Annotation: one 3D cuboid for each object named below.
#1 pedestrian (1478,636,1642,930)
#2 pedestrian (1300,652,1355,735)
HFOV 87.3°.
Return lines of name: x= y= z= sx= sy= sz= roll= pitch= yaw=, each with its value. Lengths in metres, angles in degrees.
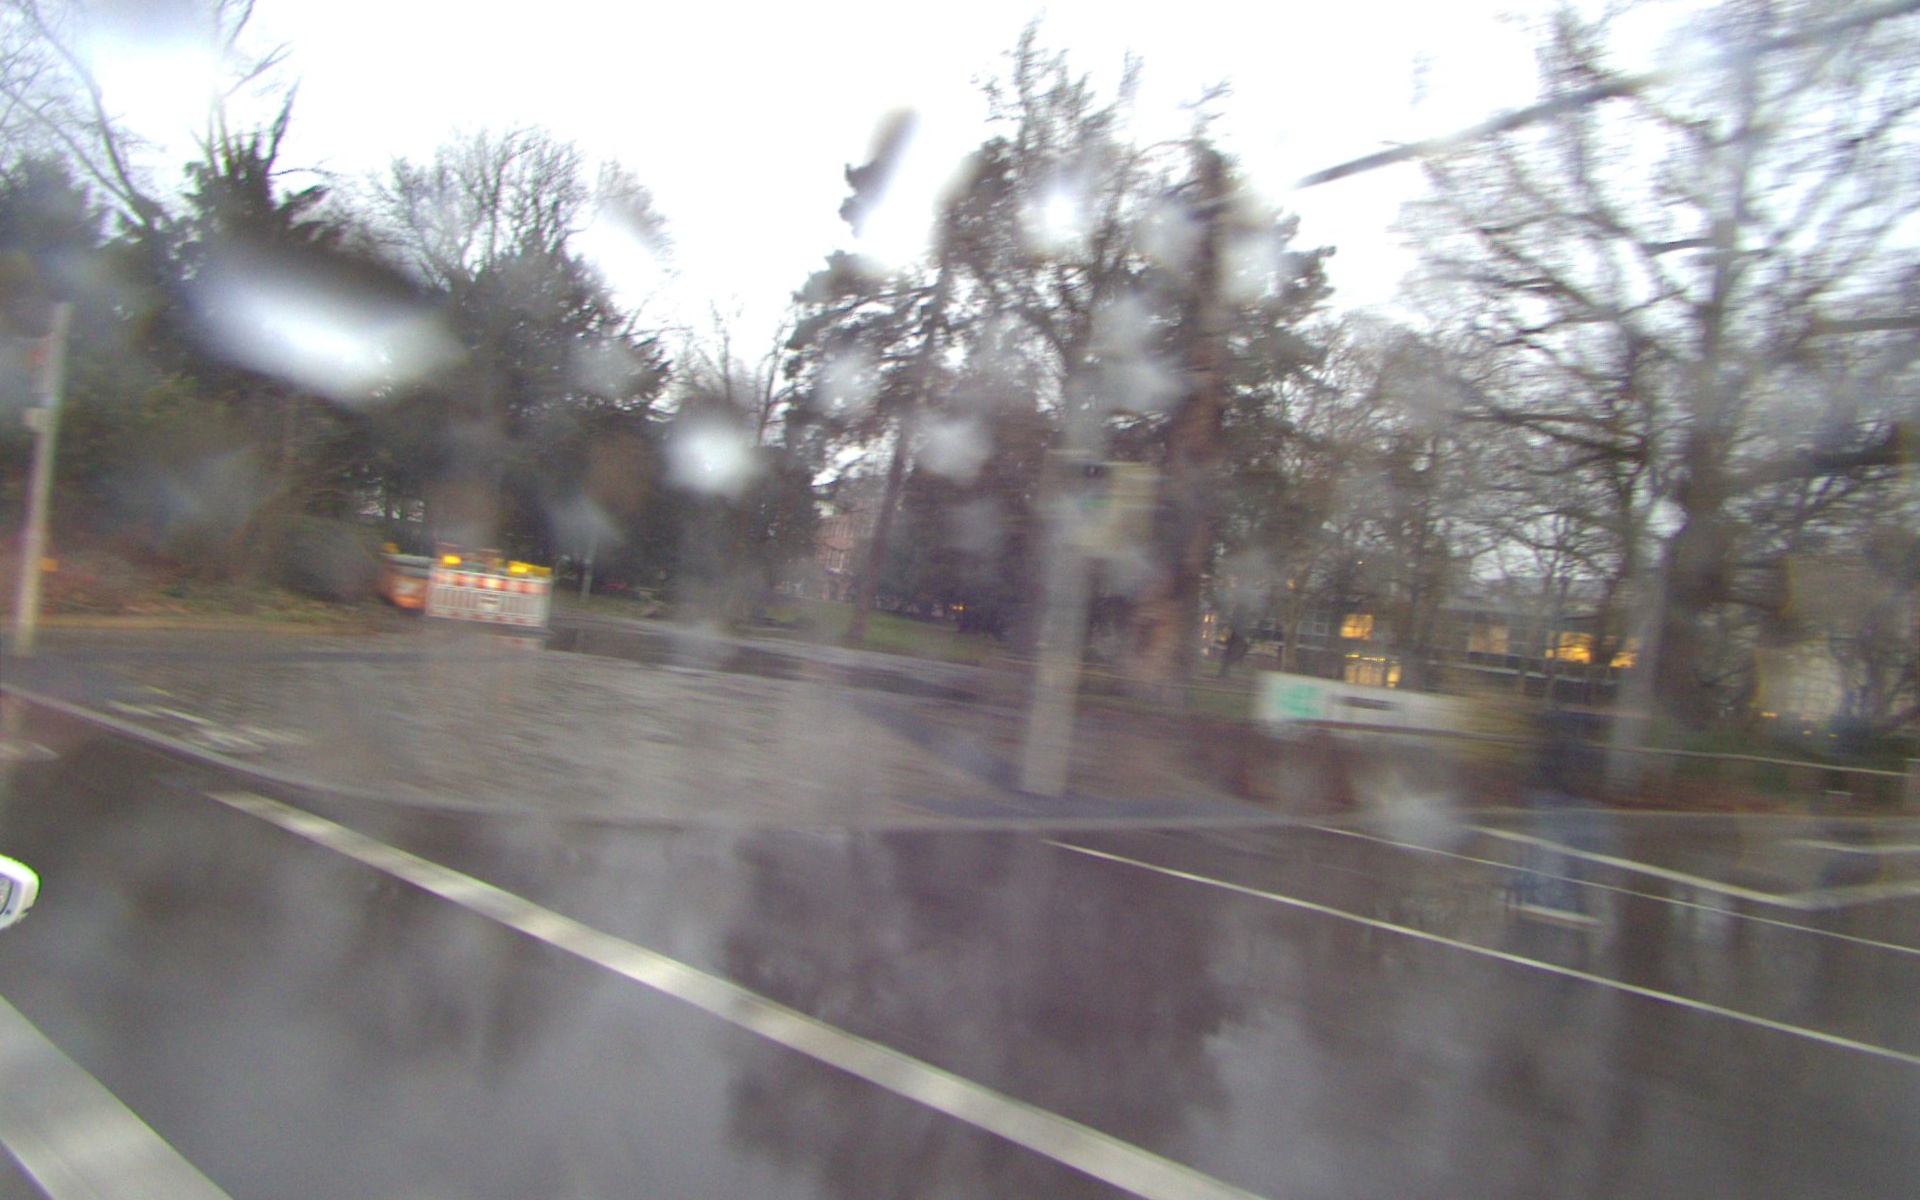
pedestrian: x=4.294 y=1.272 z=7.194 sx=0.666 sy=1.901 sz=0.711 roll=7 pitch=-1 yaw=45
pedestrian: x=7.950 y=2.025 z=21.738 sx=0.837 sy=1.659 sz=0.726 roll=7 pitch=-1 yaw=27
